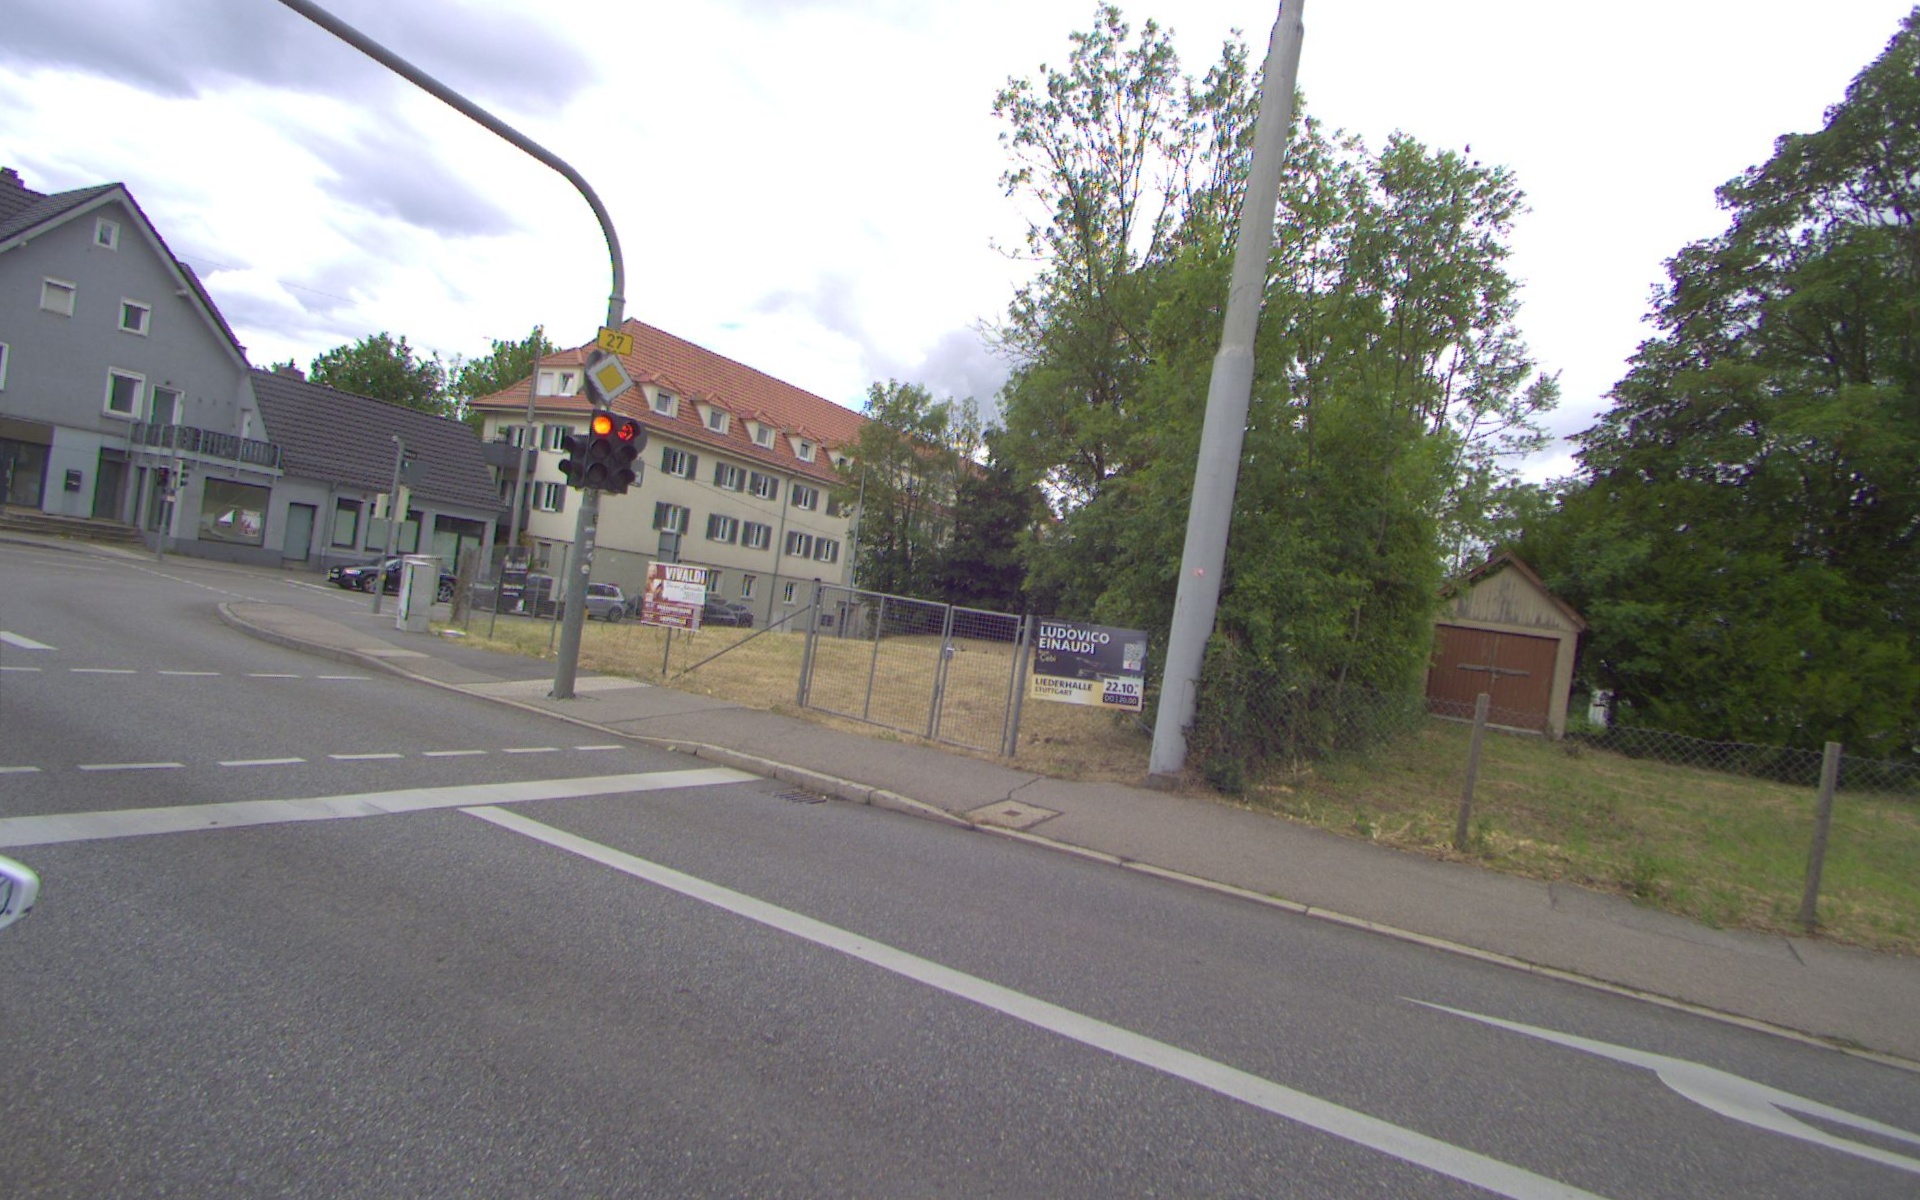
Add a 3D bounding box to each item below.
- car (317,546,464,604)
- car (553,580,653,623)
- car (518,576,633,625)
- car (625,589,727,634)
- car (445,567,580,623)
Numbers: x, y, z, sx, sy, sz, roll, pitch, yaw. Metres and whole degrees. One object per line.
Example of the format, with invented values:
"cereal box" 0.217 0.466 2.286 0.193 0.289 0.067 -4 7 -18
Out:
"car" -20.120 -0.857 35.715 1.769 1.386 4.100 7 -3 30
"car" -16.601 0.119 46.956 1.769 1.386 4.100 7 -3 30
"car" -15.725 0.063 41.353 1.769 1.386 4.100 7 -3 30
"car" -12.418 0.532 44.231 1.769 1.386 4.100 7 -3 30
"car" -16.080 -0.153 36.344 1.769 1.386 4.100 7 -3 30
